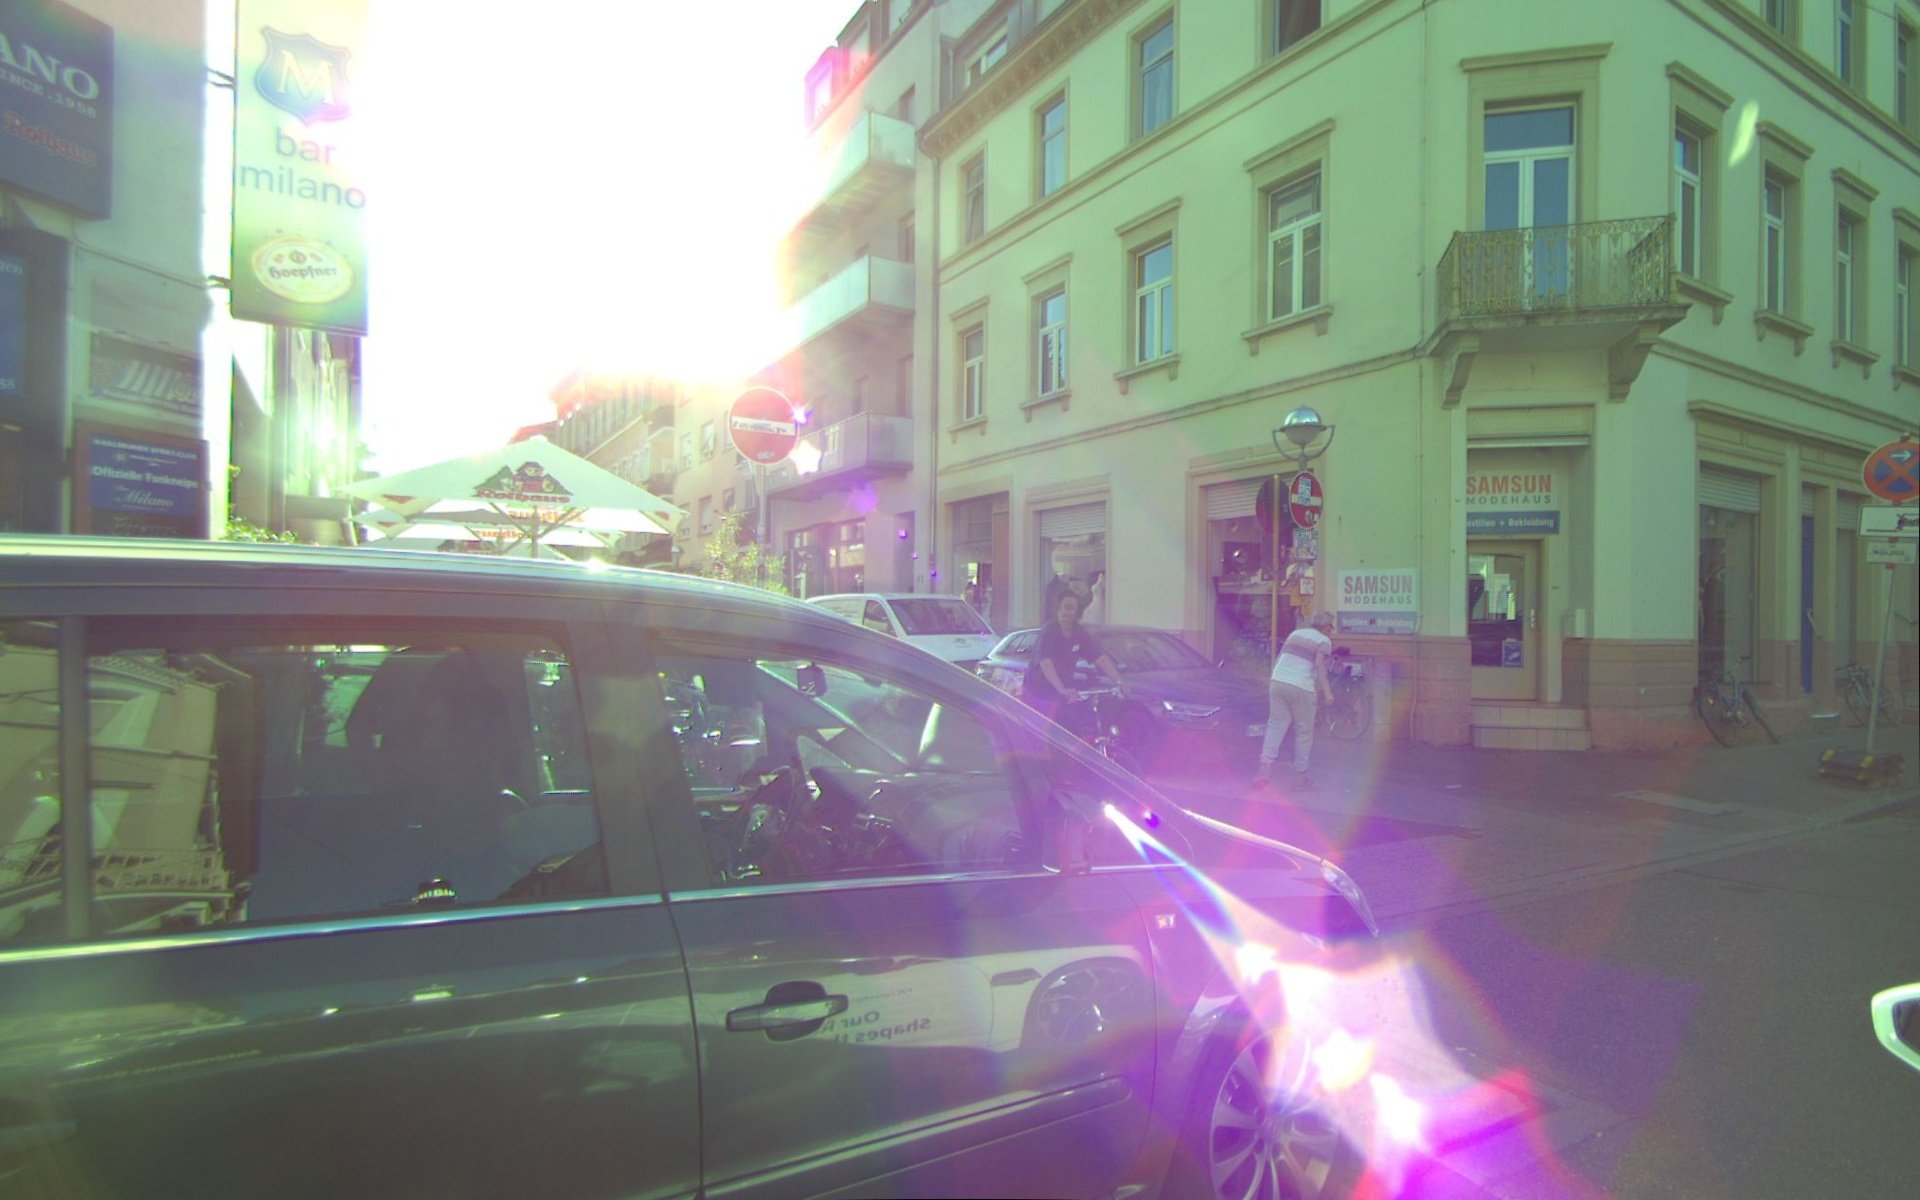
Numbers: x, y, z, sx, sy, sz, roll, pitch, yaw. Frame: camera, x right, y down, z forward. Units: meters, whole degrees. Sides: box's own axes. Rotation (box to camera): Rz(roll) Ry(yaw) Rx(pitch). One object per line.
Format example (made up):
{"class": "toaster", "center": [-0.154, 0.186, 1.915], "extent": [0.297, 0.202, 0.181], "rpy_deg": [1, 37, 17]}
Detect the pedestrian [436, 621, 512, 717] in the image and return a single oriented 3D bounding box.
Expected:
{"class": "pedestrian", "center": [-6.181, 0.859, 12.802], "extent": [0.647, 1.160, 0.543], "rpy_deg": [2, 0, 13]}

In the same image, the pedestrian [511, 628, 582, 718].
{"class": "pedestrian", "center": [-6.263, 1.088, 15.230], "extent": [0.709, 1.283, 0.681], "rpy_deg": [2, 0, 11]}

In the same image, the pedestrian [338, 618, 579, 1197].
{"class": "pedestrian", "center": [-1.630, 0.913, 3.327], "extent": [0.572, 1.666, 0.627], "rpy_deg": [3, 0, -25]}

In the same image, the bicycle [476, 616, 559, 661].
{"class": "bicycle", "center": [-11.391, 0.994, 25.848], "extent": [1.903, 1.085, 0.608], "rpy_deg": [2, 0, -27]}

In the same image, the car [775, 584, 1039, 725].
{"class": "car", "center": [-1.046, 0.732, 15.982], "extent": [1.838, 1.875, 5.053], "rpy_deg": [1, 0, -34]}

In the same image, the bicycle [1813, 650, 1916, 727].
{"class": "bicycle", "center": [13.344, 1.271, 14.800], "extent": [1.797, 1.036, 0.619], "rpy_deg": [1, 0, -31]}

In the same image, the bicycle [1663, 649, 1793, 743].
{"class": "bicycle", "center": [9.483, 1.162, 12.388], "extent": [1.797, 1.036, 0.600], "rpy_deg": [2, 2, -31]}

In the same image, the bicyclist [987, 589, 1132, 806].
{"class": "bicyclist", "center": [0.714, 0.661, 7.263], "extent": [0.704, 1.455, 0.781], "rpy_deg": [1, 0, -38]}

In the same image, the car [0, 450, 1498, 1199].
{"class": "car", "center": [-0.742, 0.691, 2.287], "extent": [4.122, 1.626, 1.712], "rpy_deg": [1, -2, -33]}

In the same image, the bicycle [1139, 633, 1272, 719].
{"class": "bicycle", "center": [3.519, 1.058, 14.560], "extent": [0.607, 1.085, 1.907], "rpy_deg": [2, 0, -37]}

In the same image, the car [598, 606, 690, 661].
{"class": "car", "center": [-9.193, 0.934, 29.064], "extent": [1.582, 1.458, 3.550], "rpy_deg": [1, 0, -34]}

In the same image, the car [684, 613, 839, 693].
{"class": "car", "center": [-4.198, 1.027, 20.824], "extent": [1.741, 1.429, 3.928], "rpy_deg": [1, 0, -34]}

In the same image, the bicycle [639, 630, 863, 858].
{"class": "bicycle", "center": [-1.666, 0.941, 7.576], "extent": [0.917, 1.377, 2.464], "rpy_deg": [2, -1, -30]}

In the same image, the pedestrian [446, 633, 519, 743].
{"class": "pedestrian", "center": [-5.407, 0.982, 11.413], "extent": [0.671, 1.170, 0.656], "rpy_deg": [2, 0, -22]}

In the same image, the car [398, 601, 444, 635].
{"class": "car", "center": [-26.605, 0.884, 49.542], "extent": [1.752, 1.590, 4.121], "rpy_deg": [1, 0, -32]}

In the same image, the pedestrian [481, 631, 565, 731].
{"class": "pedestrian", "center": [-5.398, 0.980, 12.429], "extent": [0.647, 1.160, 0.689], "rpy_deg": [2, 0, 13]}

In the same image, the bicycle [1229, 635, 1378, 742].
{"class": "bicycle", "center": [4.285, 1.073, 12.676], "extent": [0.604, 1.164, 1.916], "rpy_deg": [2, 0, -25]}

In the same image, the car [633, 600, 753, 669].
{"class": "car", "center": [-6.885, 0.810, 25.572], "extent": [1.752, 1.590, 4.373], "rpy_deg": [1, 0, -32]}

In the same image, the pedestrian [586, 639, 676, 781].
{"class": "pedestrian", "center": [-3.265, 1.055, 9.932], "extent": [0.697, 1.283, 0.845], "rpy_deg": [2, 0, -27]}

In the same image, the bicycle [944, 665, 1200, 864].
{"class": "bicycle", "center": [0.736, 1.084, 7.224], "extent": [0.704, 1.126, 1.913], "rpy_deg": [1, -1, -38]}

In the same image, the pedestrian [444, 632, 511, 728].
{"class": "pedestrian", "center": [-6.837, 1.122, 14.258], "extent": [0.603, 1.283, 0.660], "rpy_deg": [2, 0, -1]}

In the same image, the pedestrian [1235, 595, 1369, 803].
{"class": "pedestrian", "center": [3.068, 0.842, 9.046], "extent": [0.855, 1.725, 0.690], "rpy_deg": [-1, 5, -31]}

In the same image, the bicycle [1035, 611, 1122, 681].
{"class": "bicycle", "center": [2.067, 0.786, 17.849], "extent": [0.604, 1.137, 1.916], "rpy_deg": [2, 0, -25]}

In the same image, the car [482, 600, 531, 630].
{"class": "car", "center": [-24.981, 0.800, 55.275], "extent": [1.754, 1.590, 4.117], "rpy_deg": [1, 0, -34]}

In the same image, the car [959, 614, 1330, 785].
{"class": "car", "center": [1.827, 0.933, 11.220], "extent": [1.740, 1.475, 4.115], "rpy_deg": [1, 0, -33]}

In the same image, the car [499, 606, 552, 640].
{"class": "car", "center": [-22.332, 1.156, 51.526], "extent": [1.754, 1.674, 4.117], "rpy_deg": [1, 0, -34]}

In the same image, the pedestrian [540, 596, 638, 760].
{"class": "pedestrian", "center": [-3.087, 0.622, 8.337], "extent": [0.652, 1.283, 0.683], "rpy_deg": [2, 0, -27]}

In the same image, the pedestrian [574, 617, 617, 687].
{"class": "pedestrian", "center": [-8.997, 1.266, 24.769], "extent": [0.819, 1.672, 0.735], "rpy_deg": [2, 0, -33]}

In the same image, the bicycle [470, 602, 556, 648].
{"class": "bicycle", "center": [-11.158, 0.632, 25.083], "extent": [1.903, 1.085, 0.608], "rpy_deg": [2, 0, -27]}

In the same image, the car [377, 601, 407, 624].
{"class": "car", "center": [-41.373, 0.887, 73.094], "extent": [1.752, 1.596, 4.121], "rpy_deg": [1, 0, -32]}

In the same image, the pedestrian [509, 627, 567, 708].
{"class": "pedestrian", "center": [-5.899, 0.927, 14.036], "extent": [0.669, 1.068, 0.719], "rpy_deg": [2, 0, -27]}

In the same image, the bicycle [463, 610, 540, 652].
{"class": "bicycle", "center": [-12.660, 0.861, 27.765], "extent": [1.903, 1.085, 0.608], "rpy_deg": [2, 0, -27]}
